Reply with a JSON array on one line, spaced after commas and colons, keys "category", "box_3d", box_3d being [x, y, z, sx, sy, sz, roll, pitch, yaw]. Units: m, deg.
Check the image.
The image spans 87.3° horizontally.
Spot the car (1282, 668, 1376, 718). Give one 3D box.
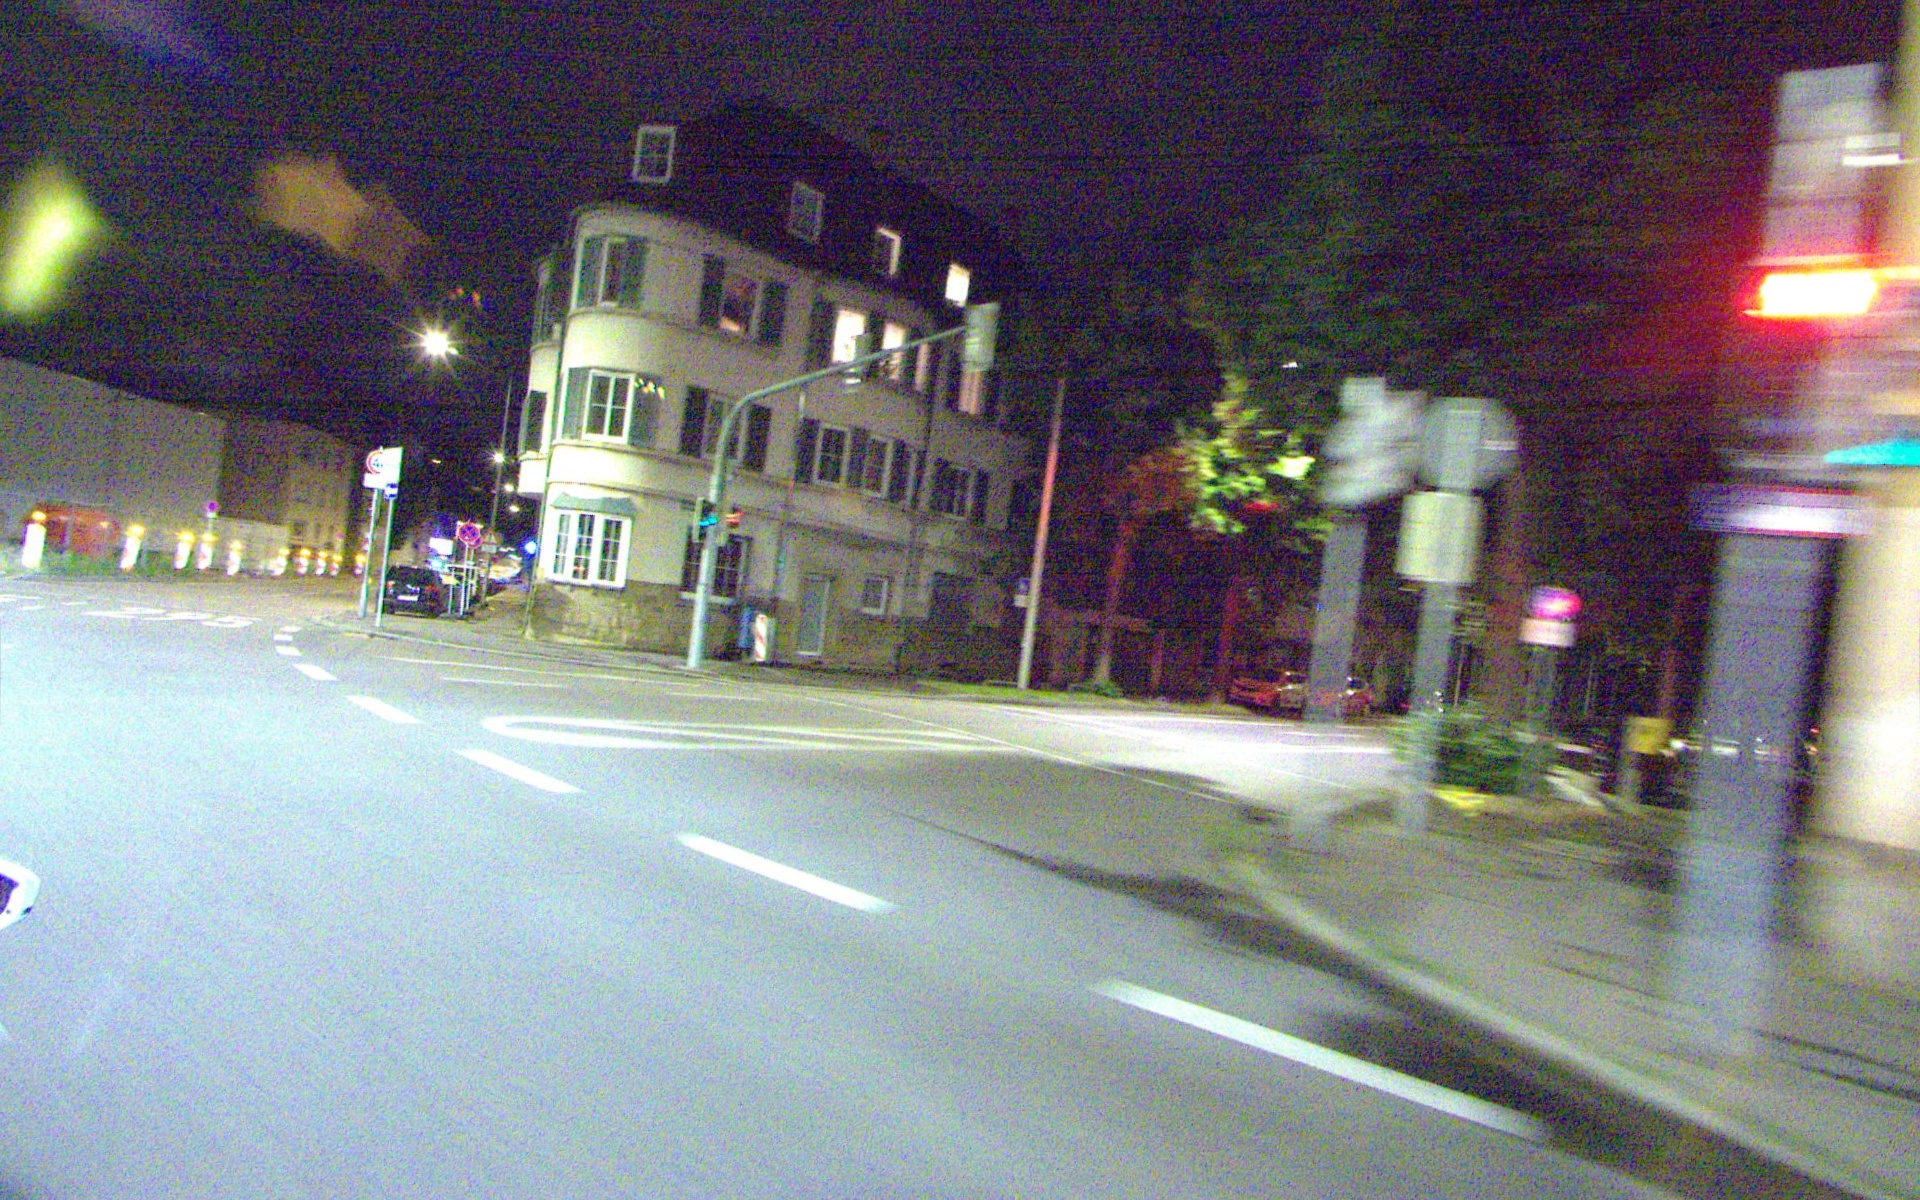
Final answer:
[{"category": "car", "box_3d": [14.703, 3.721, 40.001, 1.974, 1.522, 3.980, 5, -3, 44]}]

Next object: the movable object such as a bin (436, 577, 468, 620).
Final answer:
[{"category": "movable object such as a bin", "box_3d": [-18.402, -0.077, 36.473, 0.928, 1.449, 1.330, 5, -1, -26]}]

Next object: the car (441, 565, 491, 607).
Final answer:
[{"category": "car", "box_3d": [-26.849, -0.755, 54.798, 2.051, 1.951, 5.343, 6, -2, -23]}]

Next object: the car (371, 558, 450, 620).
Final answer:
[{"category": "car", "box_3d": [-17.417, -0.341, 32.026, 1.726, 1.703, 4.236, 6, -2, -24]}]

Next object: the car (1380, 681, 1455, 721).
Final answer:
[{"category": "car", "box_3d": [21.970, 4.860, 48.241, 1.974, 1.522, 3.980, 5, -3, 44]}]

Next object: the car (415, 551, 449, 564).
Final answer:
[{"category": "car", "box_3d": [-82.494, -6.634, 157.284, 4.397, 1.466, 1.990, 8, -2, -24]}]

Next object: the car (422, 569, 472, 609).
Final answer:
[{"category": "car", "box_3d": [-23.641, -0.489, 46.481, 1.726, 1.584, 4.189, 6, -2, -24]}]

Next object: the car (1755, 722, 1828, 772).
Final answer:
[{"category": "car", "box_3d": [36.191, 6.422, 43.766, 1.974, 1.681, 3.884, 7, -3, 45]}]

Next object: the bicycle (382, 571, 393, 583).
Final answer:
[{"category": "bicycle", "box_3d": [-56.632, -2.235, 99.468, 0.613, 1.064, 1.713, 7, -2, -22]}]

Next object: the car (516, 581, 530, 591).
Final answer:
[{"category": "car", "box_3d": [-80.479, -2.653, 185.184, 1.974, 1.533, 3.981, 9, -2, -22]}]

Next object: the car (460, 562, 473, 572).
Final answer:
[{"category": "car", "box_3d": [-97.277, -6.447, 198.211, 1.974, 1.519, 3.980, 8, -2, -23]}]

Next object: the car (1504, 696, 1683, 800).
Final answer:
[{"category": "car", "box_3d": [12.703, 2.947, 20.080, 3.976, 1.607, 1.976, 9, -2, -43]}]

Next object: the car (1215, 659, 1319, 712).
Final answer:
[{"category": "car", "box_3d": [11.391, 3.173, 37.148, 1.974, 1.522, 3.980, 5, -3, 44]}]
